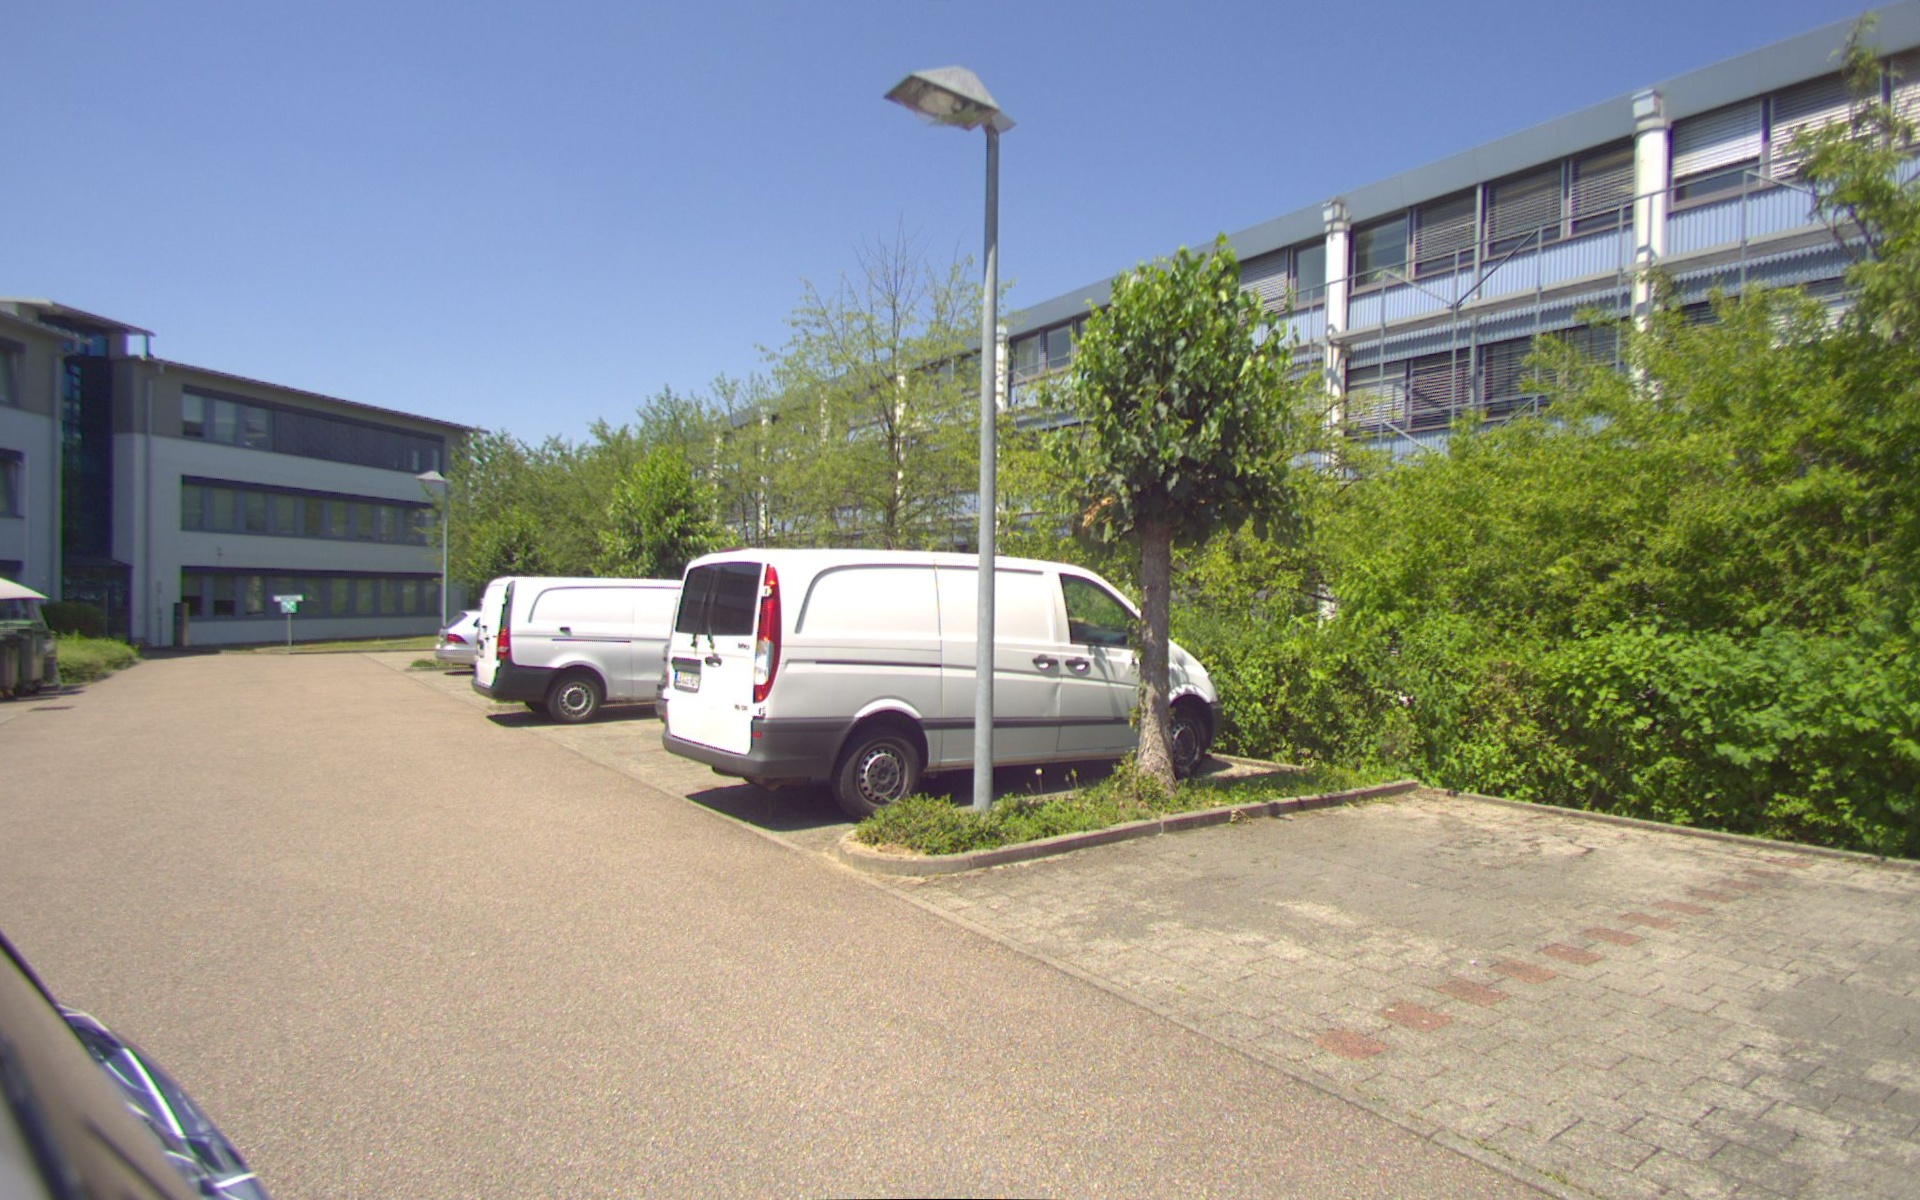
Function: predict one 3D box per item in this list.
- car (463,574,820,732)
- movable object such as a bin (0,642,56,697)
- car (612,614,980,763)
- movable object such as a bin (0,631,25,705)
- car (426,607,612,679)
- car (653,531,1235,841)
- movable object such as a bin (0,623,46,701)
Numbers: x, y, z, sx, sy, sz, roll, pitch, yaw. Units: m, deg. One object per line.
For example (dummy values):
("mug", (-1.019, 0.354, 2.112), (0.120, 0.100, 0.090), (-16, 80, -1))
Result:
("car", (-4.369, 0.651, 14.216), (4.446, 1.896, 1.833), (0, -1, -37))
("movable object such as a bin", (-17.063, 1.252, 18.483), (0.679, 0.956, 0.724), (0, -1, -30))
("car", (-1.755, 0.867, 11.386), (3.788, 1.404, 1.580), (0, -1, -37))
("movable object such as a bin", (-16.364, 1.116, 16.579), (1.341, 1.198, 1.000), (0, -1, -30))
("car", (-10.244, 0.945, 23.613), (3.704, 1.569, 1.664), (0, -1, -37))
("car", (0.056, 0.552, 8.411), (4.658, 1.920, 1.833), (0, -1, -37))
("movable object such as a bin", (-16.871, 1.068, 17.532), (1.341, 1.306, 1.046), (0, -1, -30))
